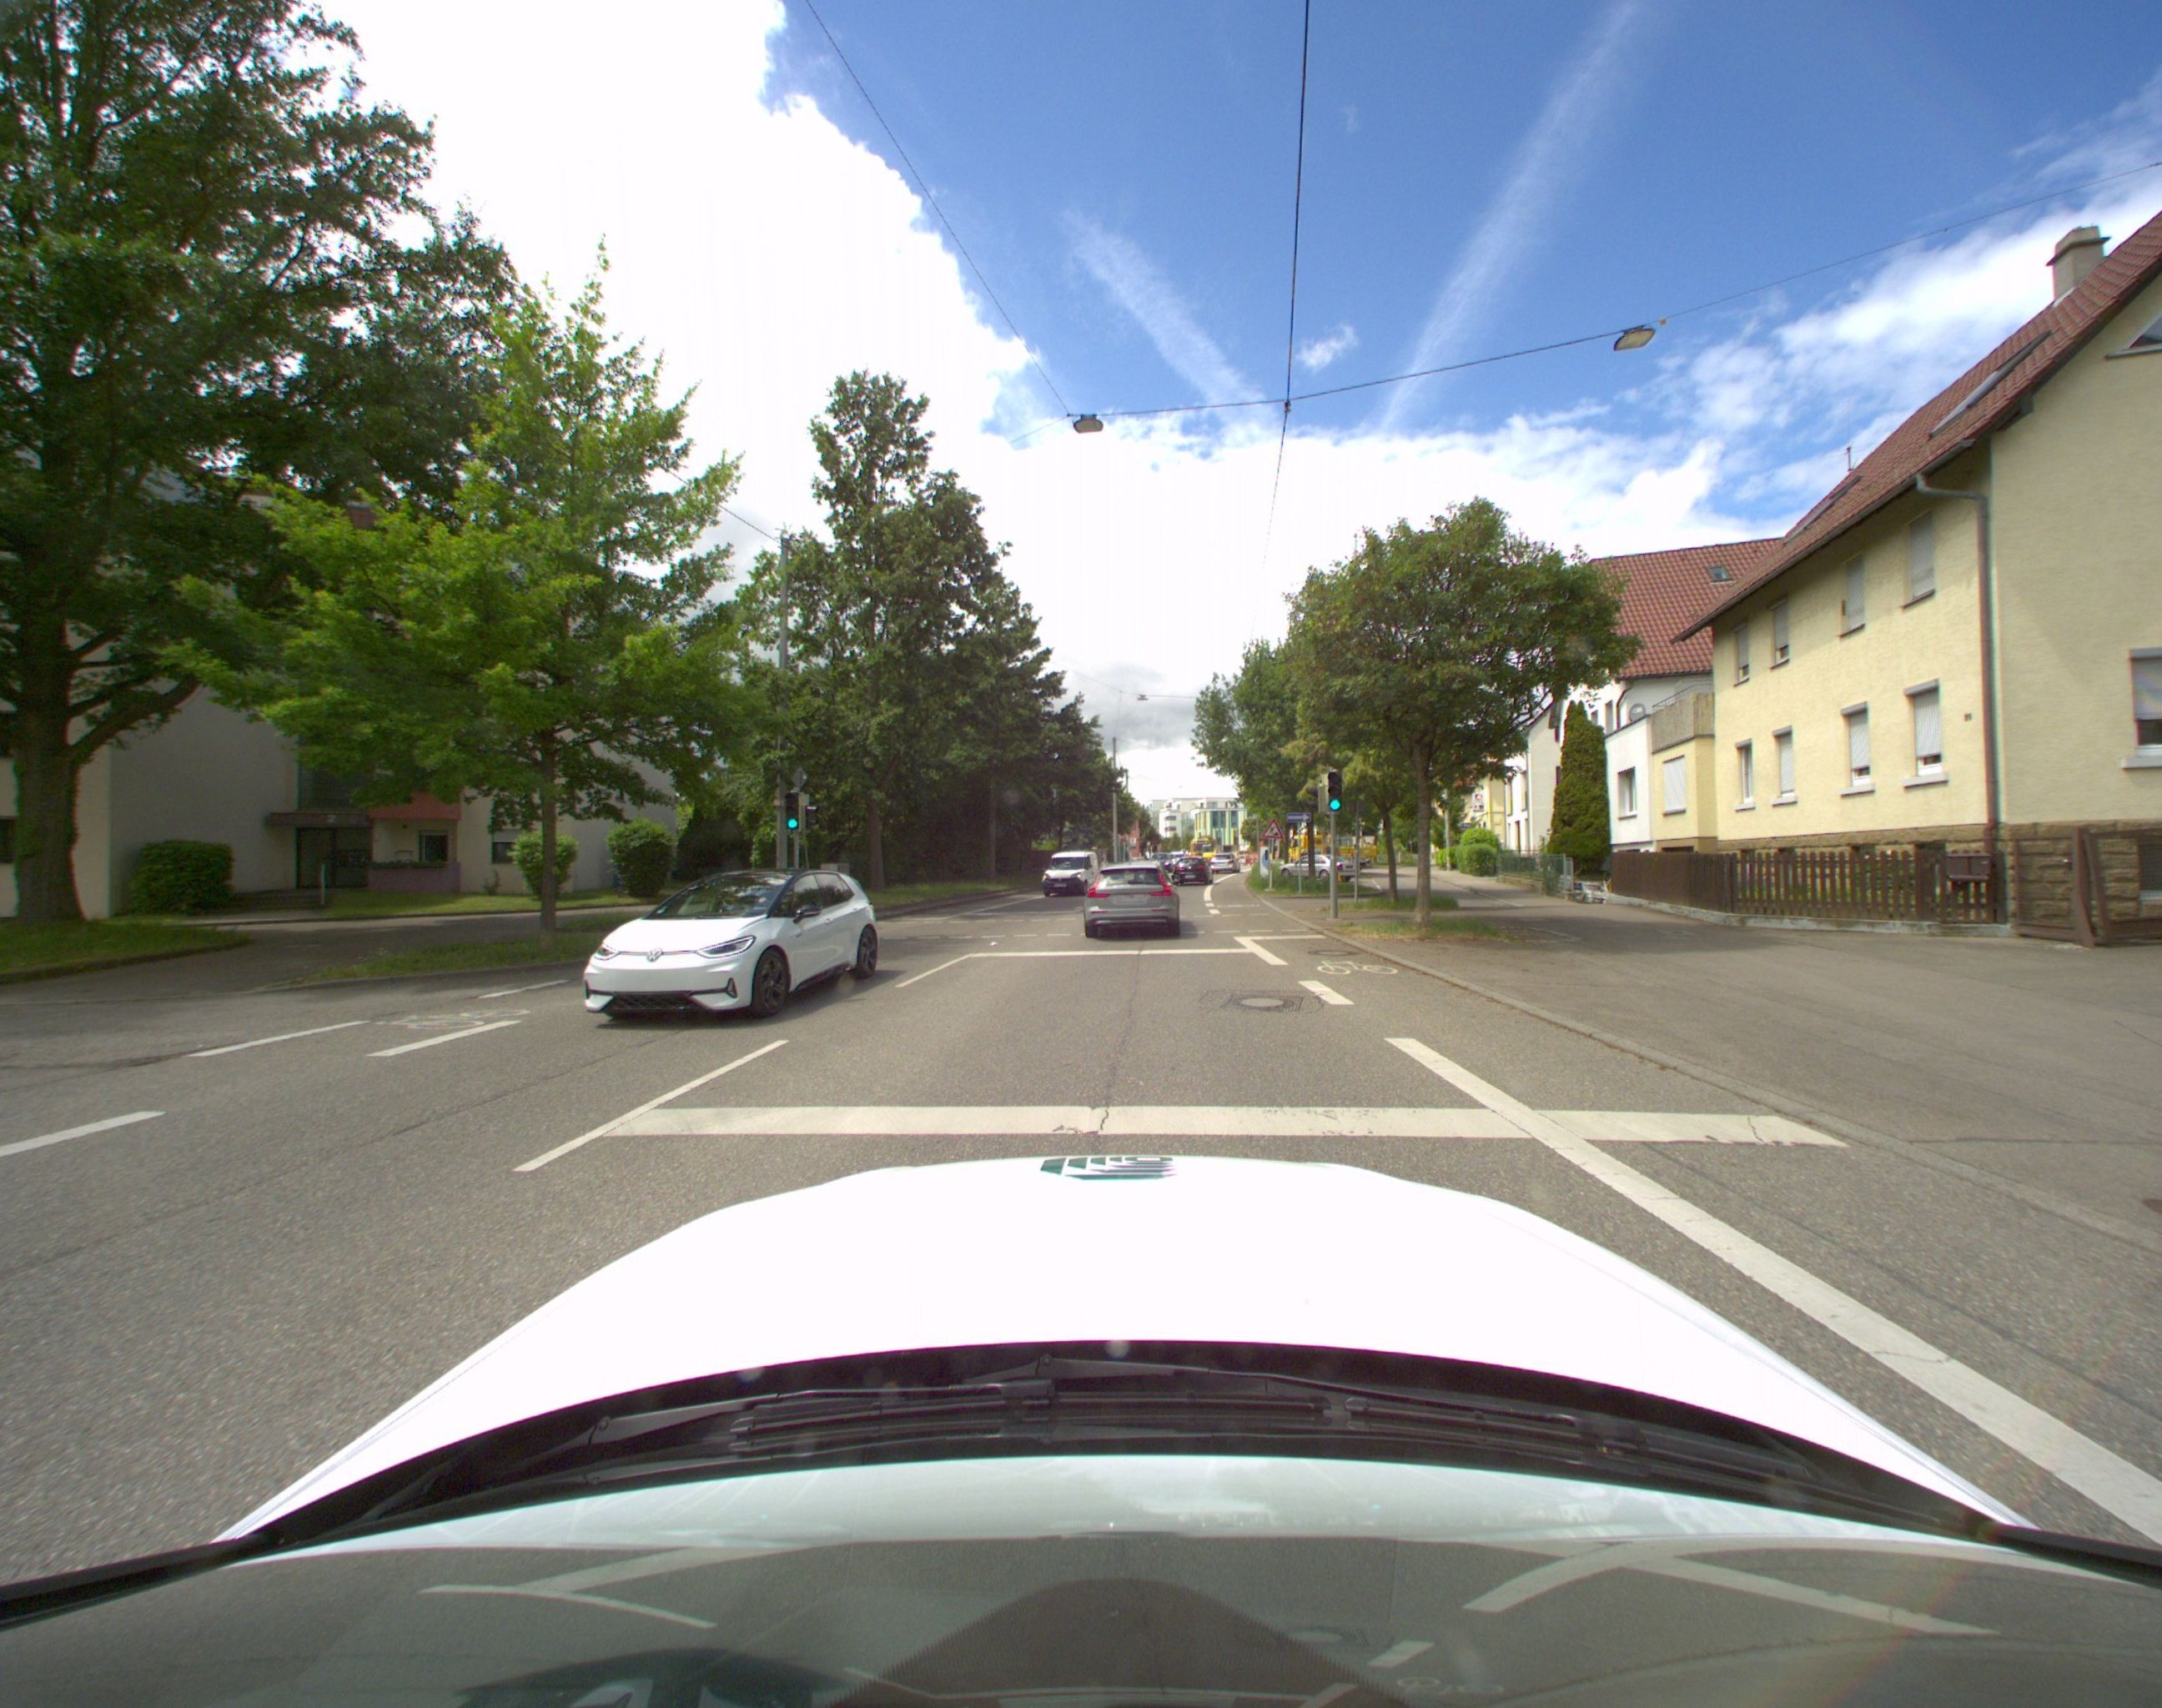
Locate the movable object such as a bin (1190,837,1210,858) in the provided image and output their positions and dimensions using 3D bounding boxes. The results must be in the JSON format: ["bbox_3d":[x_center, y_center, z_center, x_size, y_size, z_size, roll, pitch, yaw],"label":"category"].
[{"bbox_3d":[17.875,-0.977,122.400,2.301,2.990,6.431,-1,0,2],"label":"movable object such as a bin"}]

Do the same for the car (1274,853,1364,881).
[{"bbox_3d":[12.777,0.653,43.985,1.774,1.451,4.641,0,0,-33],"label":"car"}]

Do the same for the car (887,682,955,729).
[{"bbox_3d":[-7.396,-6.876,38.072,1.818,1.330,4.009,1,-2,9],"label":"car"}]

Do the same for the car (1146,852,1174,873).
[{"bbox_3d":[6.661,0.701,68.226,1.868,1.687,4.260,-2,-1,11],"label":"car"}]

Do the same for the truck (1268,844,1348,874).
[{"bbox_3d":[16.292,0.324,58.857,2.007,2.014,5.618,2,-1,-34],"label":"truck"}]

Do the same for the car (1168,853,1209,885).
[{"bbox_3d":[5.364,0.756,40.982,1.655,1.508,3.703,-2,-1,2],"label":"car"}]

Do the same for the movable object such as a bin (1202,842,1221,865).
[{"bbox_3d":[15.861,-0.035,98.853,2.022,2.643,5.957,-1,0,10],"label":"movable object such as a bin"}]

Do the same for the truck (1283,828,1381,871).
[{"bbox_3d":[18.555,-0.306,60.594,2.781,3.008,6.635,2,-1,-35],"label":"truck"}]

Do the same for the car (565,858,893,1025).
[{"bbox_3d":[-3.909,0.890,9.915,1.889,1.580,4.007,-2,-1,6],"label":"car"}]

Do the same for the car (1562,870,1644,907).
[{"bbox_3d":[17.368,1.120,27.247,1.450,1.124,3.890,1,-1,19],"label":"car"}]

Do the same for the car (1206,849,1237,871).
[{"bbox_3d":[10.172,0.470,58.982,2.089,1.510,4.010,1,-1,10],"label":"car"}]

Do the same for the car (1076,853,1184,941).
[{"bbox_3d":[1.089,0.818,17.036,1.919,1.540,4.006,-2,-1,5],"label":"car"}]

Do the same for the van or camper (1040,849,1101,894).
[{"bbox_3d":[-0.355,0.693,34.710,1.850,1.776,4.391,-1,0,9],"label":"van or camper"}]
